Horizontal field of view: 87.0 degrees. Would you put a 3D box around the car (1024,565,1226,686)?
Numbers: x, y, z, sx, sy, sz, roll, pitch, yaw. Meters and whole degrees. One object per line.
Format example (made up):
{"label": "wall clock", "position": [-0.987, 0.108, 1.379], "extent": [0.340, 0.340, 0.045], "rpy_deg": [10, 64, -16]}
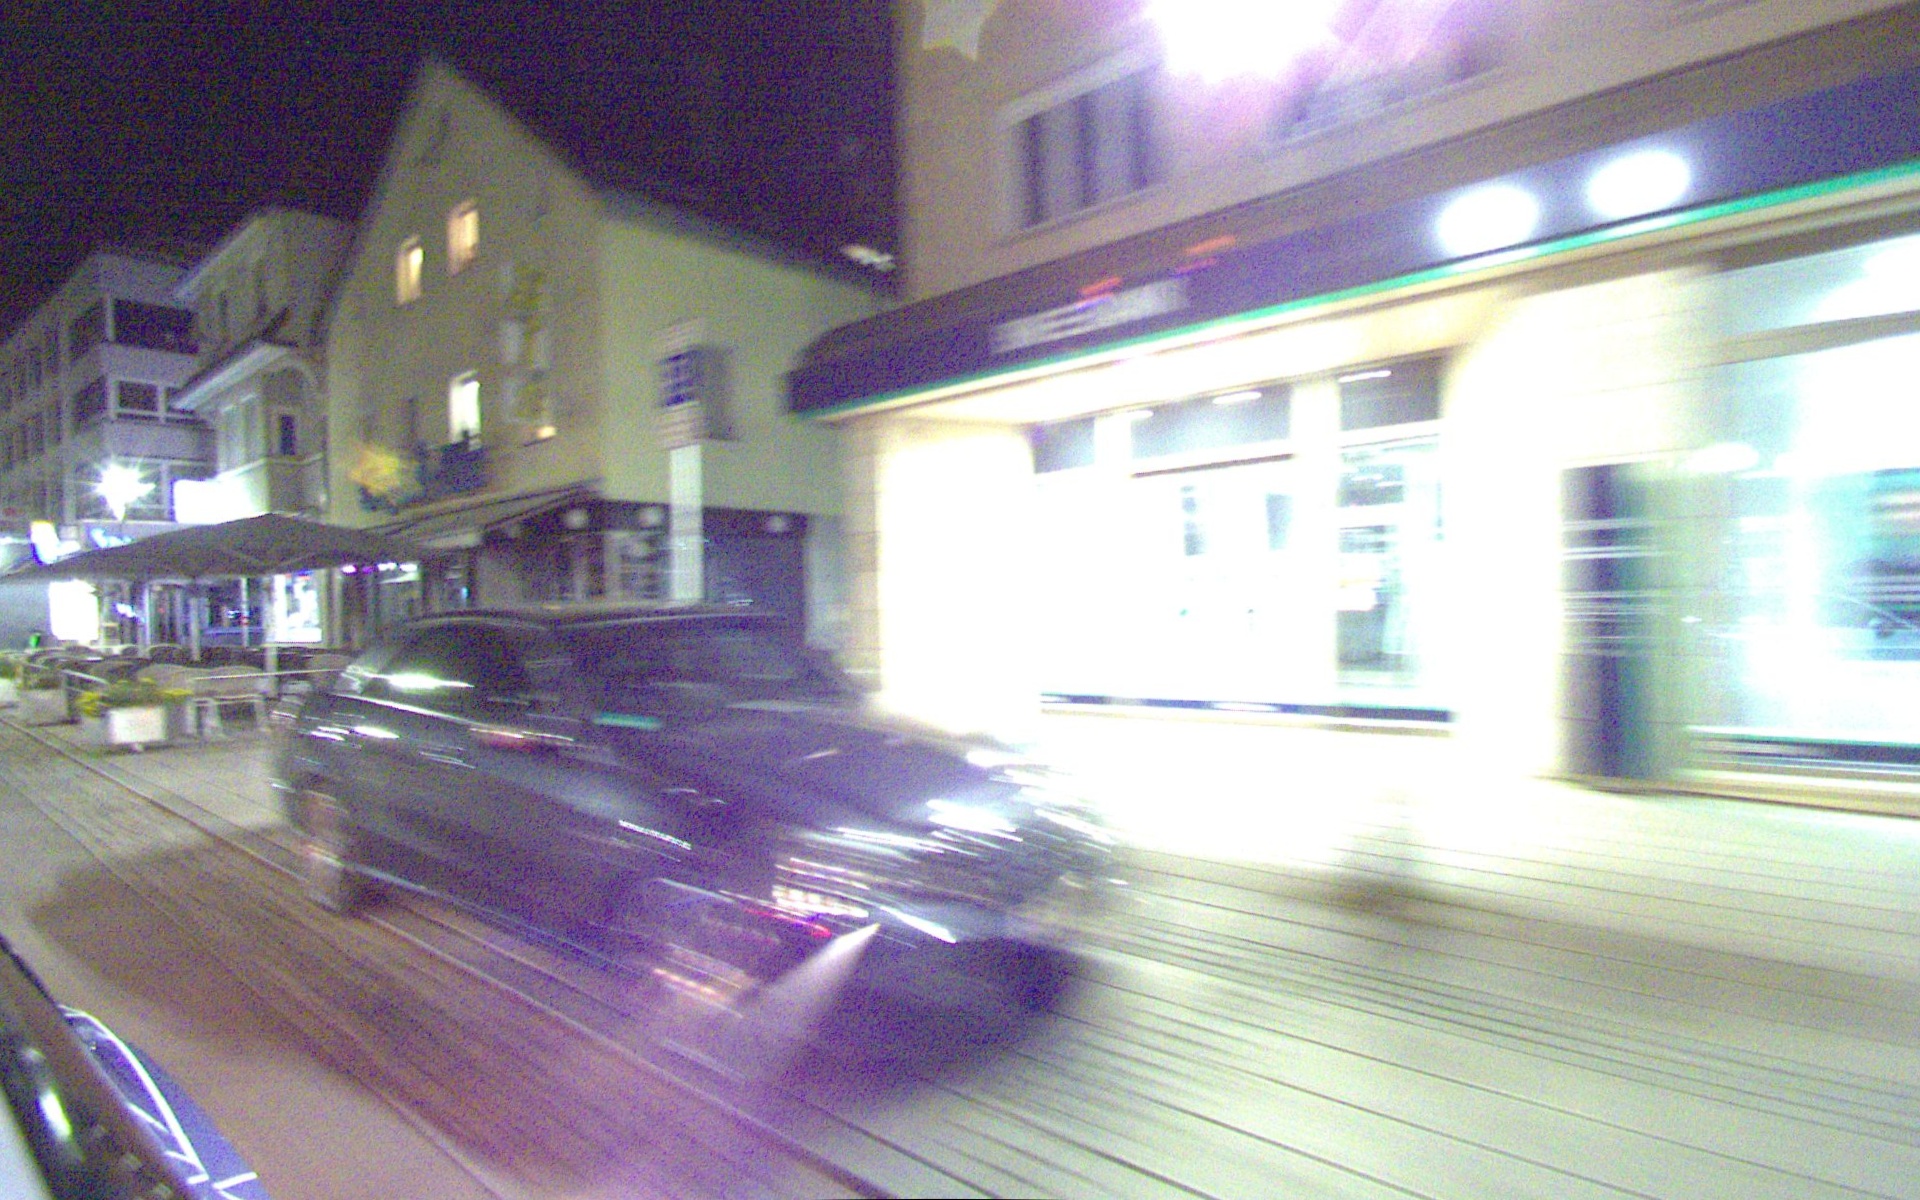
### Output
{"label": "car", "position": [2.858, 0.383, 17.076], "extent": [1.770, 1.794, 3.390], "rpy_deg": [-5, -1, 41]}

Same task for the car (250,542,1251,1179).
{"label": "car", "position": [-1.257, 0.637, 4.502], "extent": [4.519, 1.481, 1.882], "rpy_deg": [-2, 0, 38]}
